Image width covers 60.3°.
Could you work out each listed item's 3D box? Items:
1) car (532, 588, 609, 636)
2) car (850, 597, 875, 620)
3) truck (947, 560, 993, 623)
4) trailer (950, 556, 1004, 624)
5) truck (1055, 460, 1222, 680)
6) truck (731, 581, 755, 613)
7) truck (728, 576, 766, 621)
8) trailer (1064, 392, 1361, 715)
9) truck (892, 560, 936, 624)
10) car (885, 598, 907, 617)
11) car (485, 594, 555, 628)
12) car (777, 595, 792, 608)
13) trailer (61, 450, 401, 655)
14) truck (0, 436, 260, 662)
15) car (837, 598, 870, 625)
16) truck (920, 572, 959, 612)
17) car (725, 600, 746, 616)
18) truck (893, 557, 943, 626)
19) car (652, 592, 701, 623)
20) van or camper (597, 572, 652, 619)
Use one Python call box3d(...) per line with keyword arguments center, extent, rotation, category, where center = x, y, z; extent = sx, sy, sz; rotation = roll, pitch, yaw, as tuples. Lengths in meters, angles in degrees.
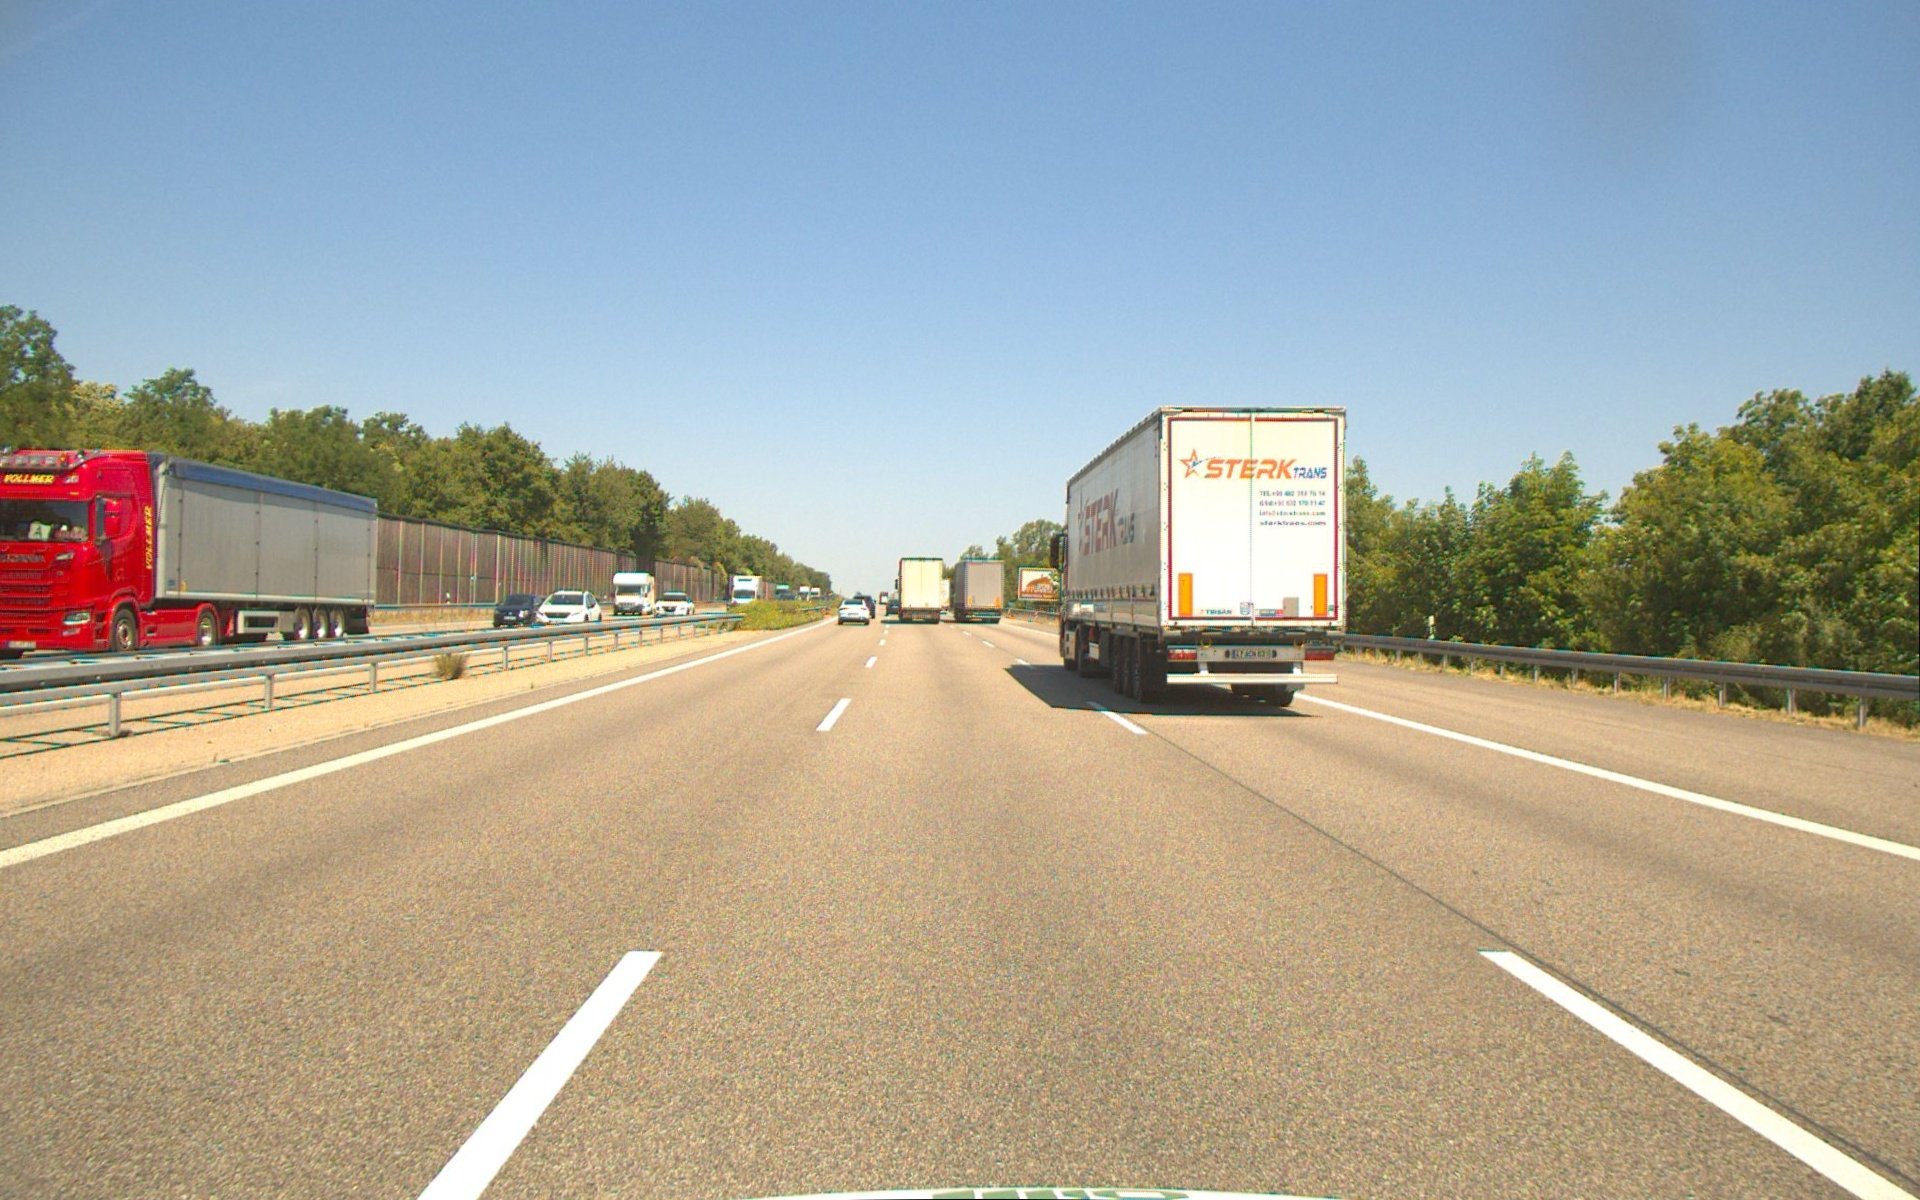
box3d(center=(-13.629, 0.417, 58.122), extent=(1.768, 1.571, 4.244), rotation=(1, 0, -1), category="car")
box3d(center=(-7.367, 0.631, 125.188), extent=(1.818, 1.645, 3.997), rotation=(1, 0, -3), category="car")
box3d(center=(0.665, -0.584, 119.051), extent=(2.638, 4.289, 7.832), rotation=(2, -1, -4), category="truck")
box3d(center=(1.046, -0.624, 112.974), extent=(2.650, 4.289, 13.201), rotation=(2, 0, -4), category="trailer")
box3d(center=(3.615, -0.556, 35.134), extent=(2.652, 4.160, 6.963), rotation=(1, 0, -1), category="truck")
box3d(center=(-28.452, -0.394, 217.135), extent=(2.436, 4.159, 4.677), rotation=(1, 0, 0), category="truck")
box3d(center=(-16.724, -0.102, 130.296), extent=(2.361, 3.411, 6.916), rotation=(1, 0, -2), category="truck")
box3d(center=(3.746, -0.573, 28.613), extent=(2.652, 4.160, 14.147), rotation=(1, 0, -1), category="trailer")
box3d(center=(-3.185, -0.524, 113.078), extent=(2.674, 4.157, 7.271), rotation=(2, -1, -4), category="truck")
box3d(center=(-5.689, 0.692, 146.826), extent=(1.818, 1.645, 3.997), rotation=(1, 0, -4), category="car")
box3d(center=(-18.899, 0.476, 71.224), extent=(1.880, 1.399, 4.580), rotation=(1, 0, -2), category="car")
box3d(center=(-26.150, 0.234, 246.906), extent=(1.954, 1.847, 5.217), rotation=(1, 0, -3), category="car")
box3d(center=(-17.258, -0.959, 40.831), extent=(2.293, 4.147, 14.205), rotation=(1, 0, -1), category="trailer")
box3d(center=(-17.136, -0.942, 34.210), extent=(2.310, 4.147, 7.151), rotation=(1, 0, -1), category="truck")
box3d(center=(-6.215, 0.688, 96.672), extent=(1.818, 1.512, 3.997), rotation=(1, 0, -3), category="car")
box3d(center=(-2.486, -0.922, 195.173), extent=(3.309, 4.378, 11.436), rotation=(4, 0, -6), category="truck")
box3d(center=(-22.854, 0.788, 168.578), extent=(1.777, 1.628, 3.998), rotation=(1, 0, -2), category="car")
box3d(center=(-2.850, -0.484, 107.898), extent=(2.653, 4.157, 13.463), rotation=(2, 0, -4), category="truck")
box3d(center=(-15.118, 0.415, 88.344), extent=(1.880, 1.573, 4.581), rotation=(1, 0, -1), category="car")
box3d(center=(-23.283, -0.296, 115.160), extent=(2.507, 2.964, 7.371), rotation=(4, 0, -3), category="van or camper")
